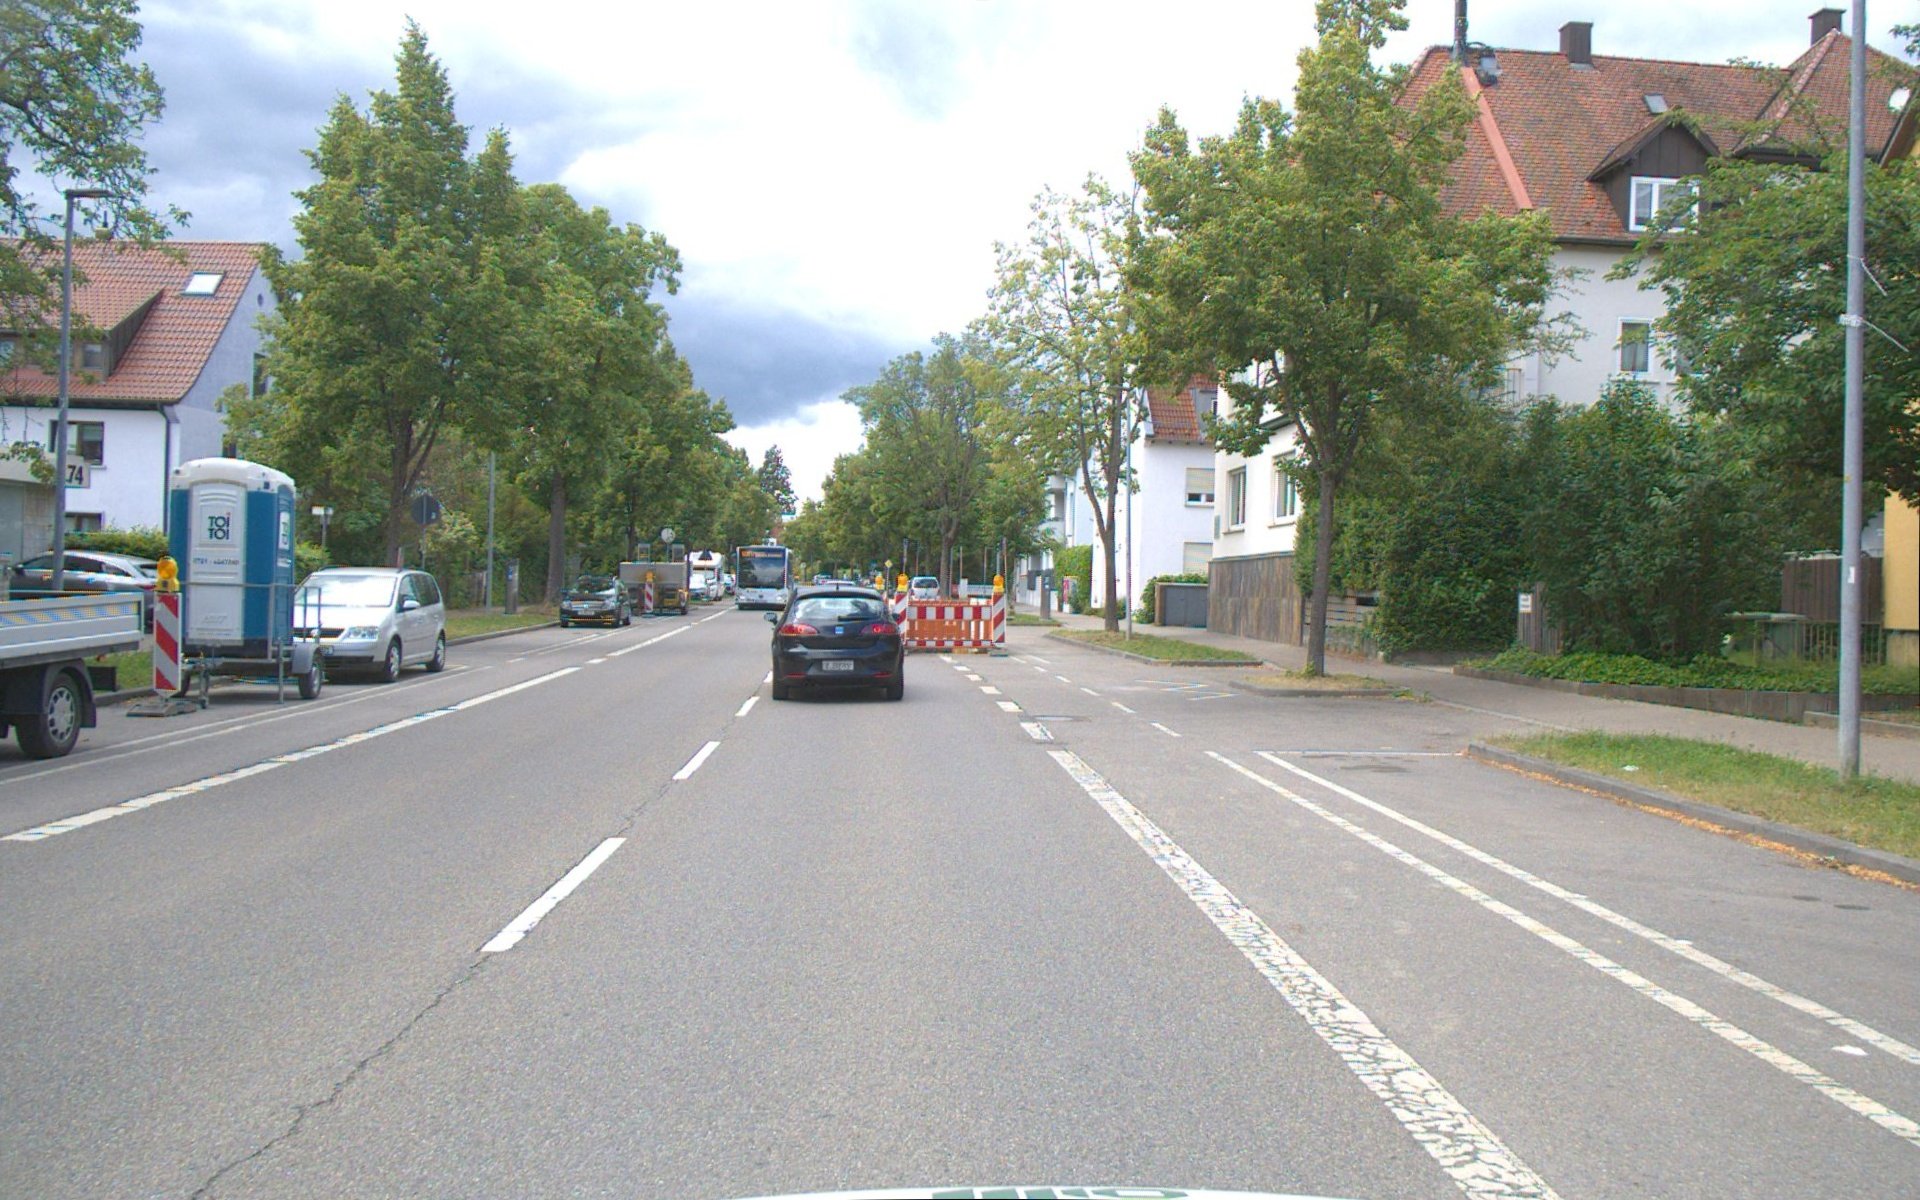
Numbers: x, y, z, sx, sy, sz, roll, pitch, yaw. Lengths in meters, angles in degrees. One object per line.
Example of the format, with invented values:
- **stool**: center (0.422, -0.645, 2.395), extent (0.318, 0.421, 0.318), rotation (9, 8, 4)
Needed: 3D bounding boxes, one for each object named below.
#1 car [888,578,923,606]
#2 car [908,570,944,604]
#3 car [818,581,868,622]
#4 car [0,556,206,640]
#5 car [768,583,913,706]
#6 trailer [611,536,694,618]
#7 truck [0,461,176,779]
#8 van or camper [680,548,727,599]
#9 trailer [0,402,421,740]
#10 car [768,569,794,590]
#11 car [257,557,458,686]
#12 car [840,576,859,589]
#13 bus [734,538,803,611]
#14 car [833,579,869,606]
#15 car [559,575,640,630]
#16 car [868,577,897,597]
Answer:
- **car**: center (-3.005, -0.447, 90.461), extent (1.655, 1.519, 4.222), rotation (0, 1, -6)
- **car**: center (-1.758, -0.671, 84.782), extent (1.601, 1.694, 3.644), rotation (1, 1, -5)
- **car**: center (-4.793, 0.036, 68.005), extent (1.954, 1.585, 3.997), rotation (1, 1, -3)
- **car**: center (-17.484, -0.060, 33.010), extent (3.994, 1.458, 1.801), rotation (2, 1, 3)
- **car**: center (-1.634, 0.538, 22.257), extent (1.748, 1.474, 3.554), rotation (2, 0, -5)
- **trailer**: center (-12.159, -0.862, 65.898), extent (2.622, 2.992, 7.466), rotation (1, 0, -6)
- **truck**: center (-8.157, 0.144, 11.600), extent (2.248, 2.327, 6.463), rotation (1, 1, 0)
- **van or camper**: center (-15.939, -1.627, 103.223), extent (2.388, 3.062, 7.685), rotation (1, 1, -5)
- **trailer**: center (-8.273, -0.304, 18.323), extent (2.323, 3.014, 7.010), rotation (1, 1, 0)
- **car**: center (-14.937, -1.690, 138.353), extent (1.954, 1.697, 4.586), rotation (-1, 1, -4)
- **car**: center (-8.840, 0.294, 24.629), extent (1.655, 1.713, 4.222), rotation (1, 0, -4)
- **car**: center (-12.281, -1.937, 183.109), extent (1.653, 1.457, 4.034), rotation (1, 1, -11)
- **bus**: center (-9.819, -1.183, 86.466), extent (2.750, 3.346, 18.029), rotation (1, 0, -4)
- **car**: center (-6.731, -0.478, 102.000), extent (1.956, 1.556, 3.994), rotation (1, 1, -7)
- **car**: center (-11.052, 0.120, 50.956), extent (1.824, 1.580, 4.614), rotation (1, -1, -5)
- **car**: center (-6.018, -1.017, 128.216), extent (1.981, 1.468, 5.020), rotation (1, 1, -5)
